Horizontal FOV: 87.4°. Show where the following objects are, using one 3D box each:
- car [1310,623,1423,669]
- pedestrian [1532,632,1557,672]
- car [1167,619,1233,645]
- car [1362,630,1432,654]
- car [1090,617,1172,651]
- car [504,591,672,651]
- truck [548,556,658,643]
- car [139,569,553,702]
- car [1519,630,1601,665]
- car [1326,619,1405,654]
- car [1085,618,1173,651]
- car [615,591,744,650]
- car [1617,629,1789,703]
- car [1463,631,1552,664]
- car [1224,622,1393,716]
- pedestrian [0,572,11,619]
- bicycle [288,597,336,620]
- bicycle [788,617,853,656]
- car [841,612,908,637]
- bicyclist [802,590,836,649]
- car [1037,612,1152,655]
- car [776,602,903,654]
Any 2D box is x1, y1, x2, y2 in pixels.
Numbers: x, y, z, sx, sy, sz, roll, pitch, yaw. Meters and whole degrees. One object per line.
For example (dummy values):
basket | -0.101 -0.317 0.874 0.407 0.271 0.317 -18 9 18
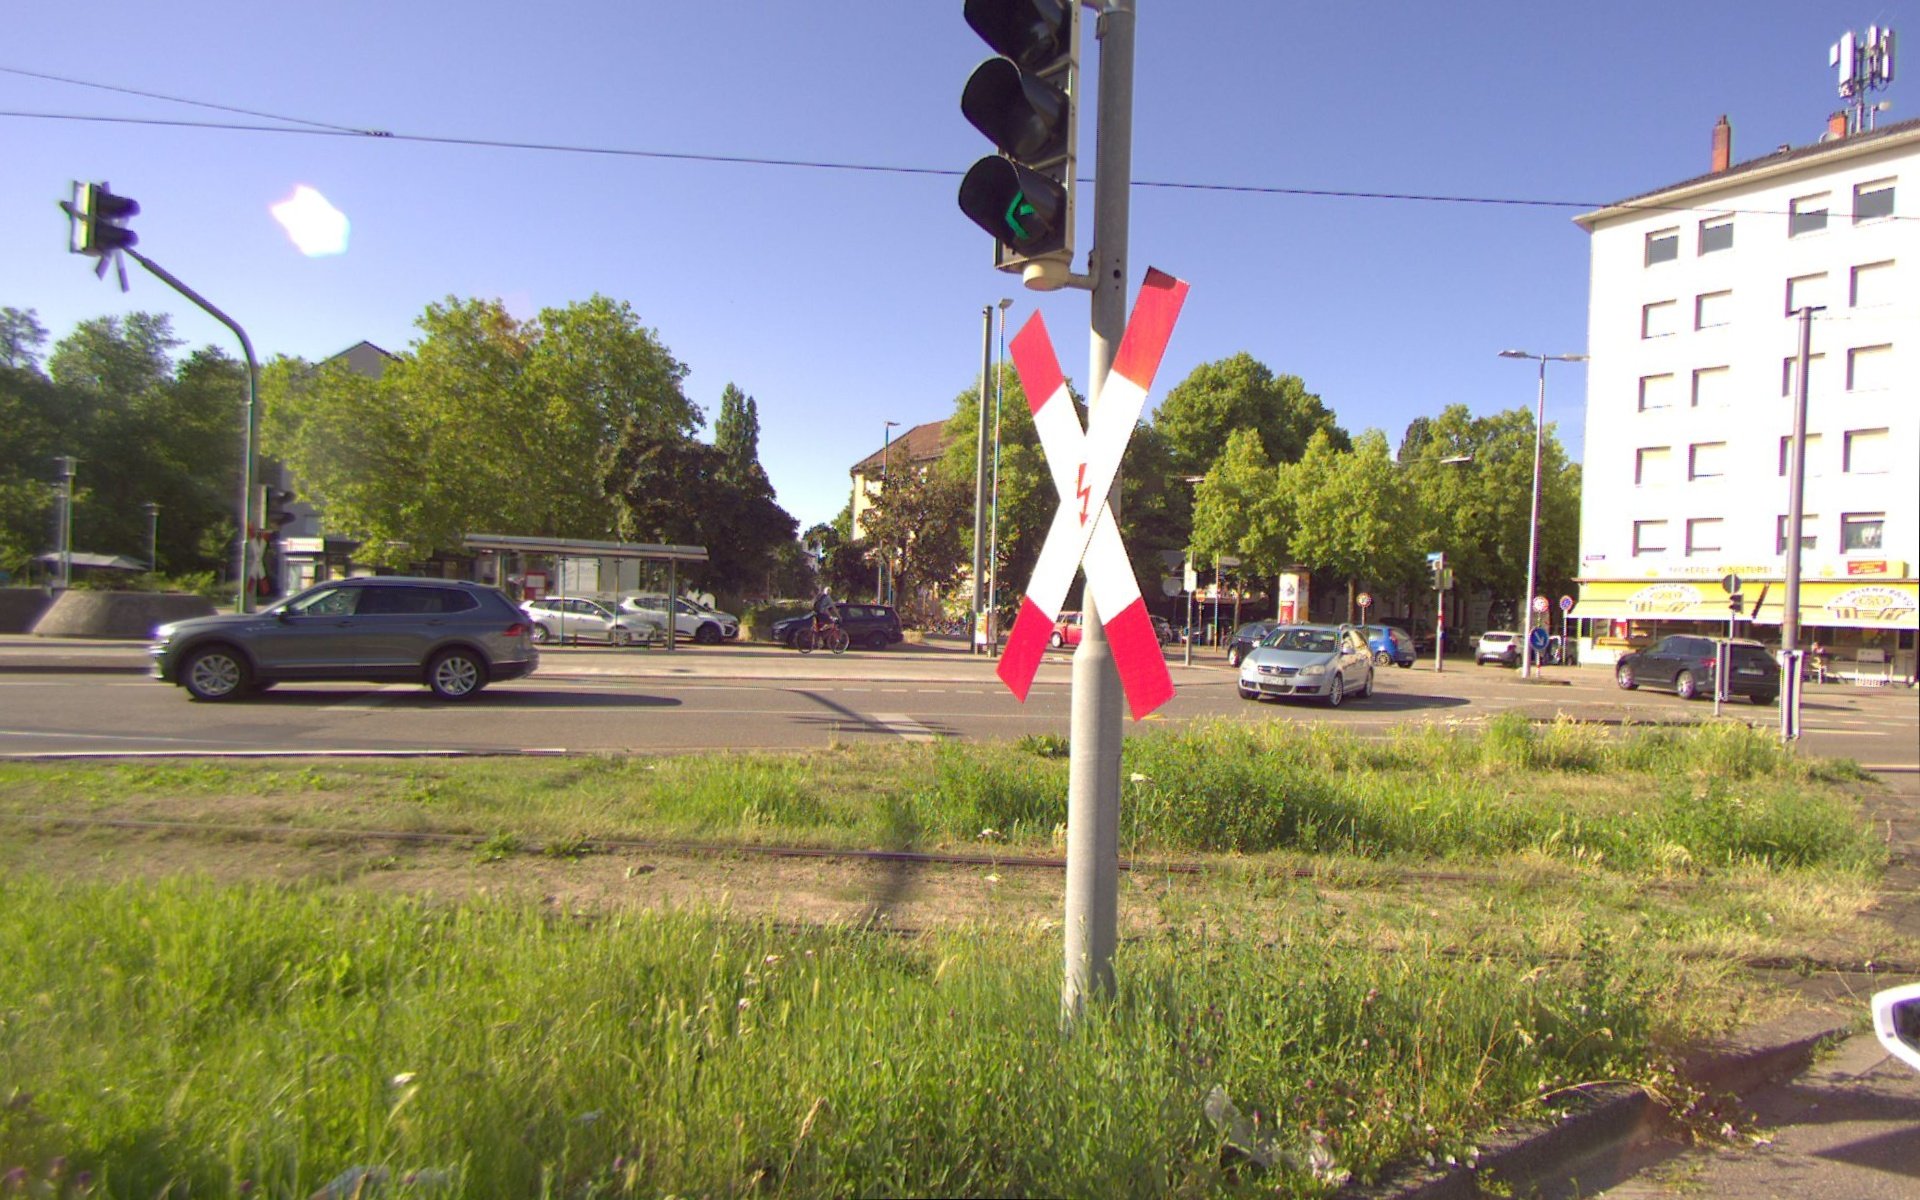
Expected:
car | 14.570 1.634 36.091 1.640 1.457 3.351 2 0 -44
pedestrian | 24.854 2.210 42.706 0.781 1.643 0.826 1 0 37
car | 13.388 1.792 55.871 3.668 1.310 1.583 2 -1 -37
car | 25.452 2.452 58.626 3.374 1.206 1.669 2 0 5
car | 8.978 1.792 52.640 4.183 1.639 1.749 2 0 -34
car | -11.391 0.616 30.904 4.457 1.565 1.873 2 2 7
truck | -13.372 -0.015 37.990 1.960 3.035 4.831 2 0 6
car | -8.265 0.515 14.092 4.654 1.635 1.750 2 0 -22
car | 28.842 2.299 48.259 3.900 1.533 1.923 2 0 -35
car | 20.369 1.820 50.514 1.659 1.623 3.265 2 -1 -43
car | 7.452 1.508 44.466 1.683 1.270 3.582 2 0 -41
car | -9.251 0.675 33.384 3.928 1.741 1.760 2 3 -10
car | 17.964 1.534 24.548 1.730 1.505 4.296 2 0 12
car | 24.172 2.100 44.289 3.963 1.327 1.979 3 -1 -37
car | 6.876 1.220 19.465 1.706 1.461 4.865 4 1 36
pedestrian | -37.903 -0.191 39.627 0.716 1.853 0.557 2 0 40
bicycle | -26.002 0.336 40.311 1.651 0.850 0.548 2 0 11
bicycle | -3.770 0.971 27.151 1.643 1.014 0.607 1 1 -37
car | -5.404 1.530 63.542 3.919 1.356 1.807 2 0 6
bicyclist | -3.795 0.528 27.118 0.670 1.551 0.607 1 2 -37
car | 5.388 1.316 40.656 1.744 1.508 4.483 2 0 -45
car | -4.009 0.919 33.186 3.941 1.509 1.758 1 3 -15
